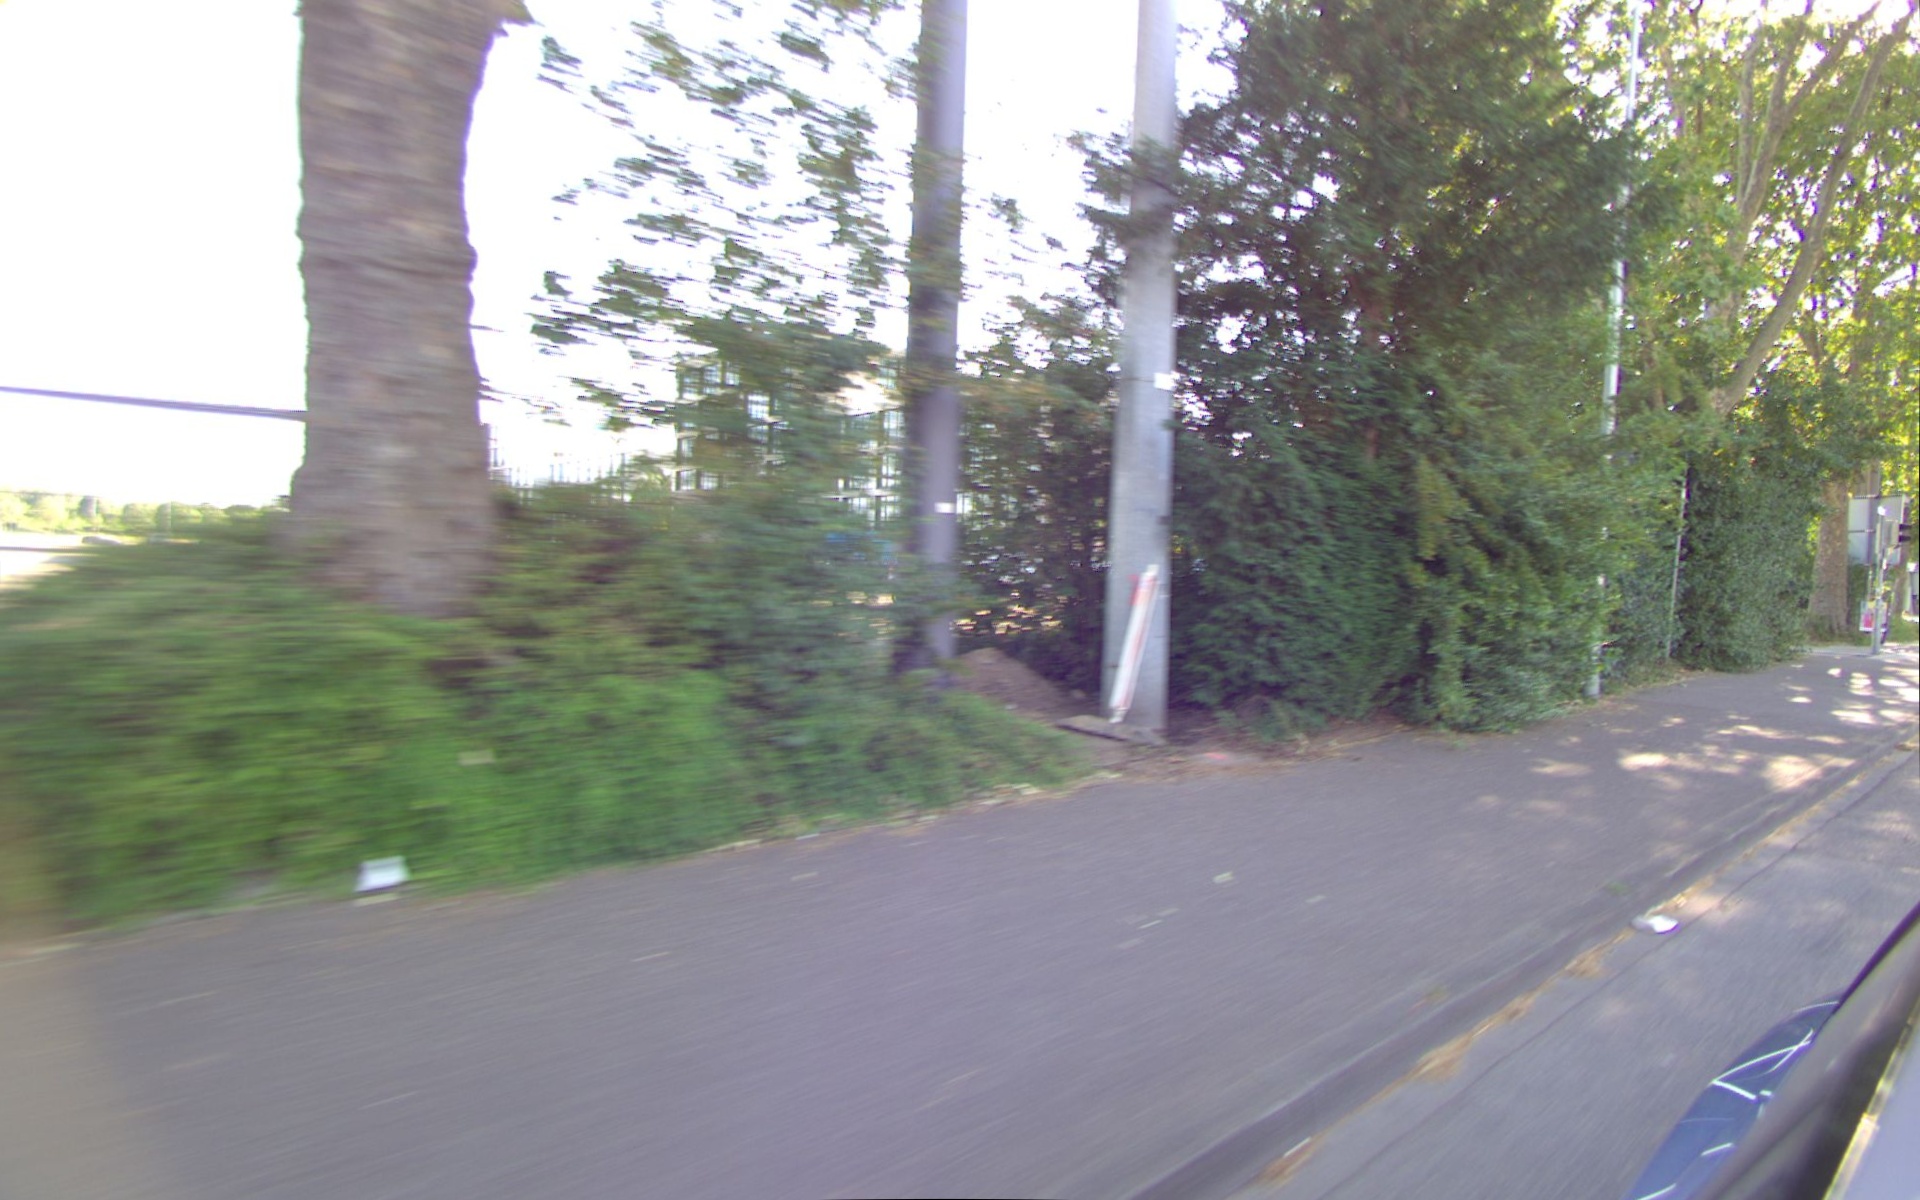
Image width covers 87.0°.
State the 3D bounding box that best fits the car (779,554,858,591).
[{"bbox_3d":[-6.732,-1.330,47.958,1.698,1.544,3.993,1,3,-43],"label":"car"}]
